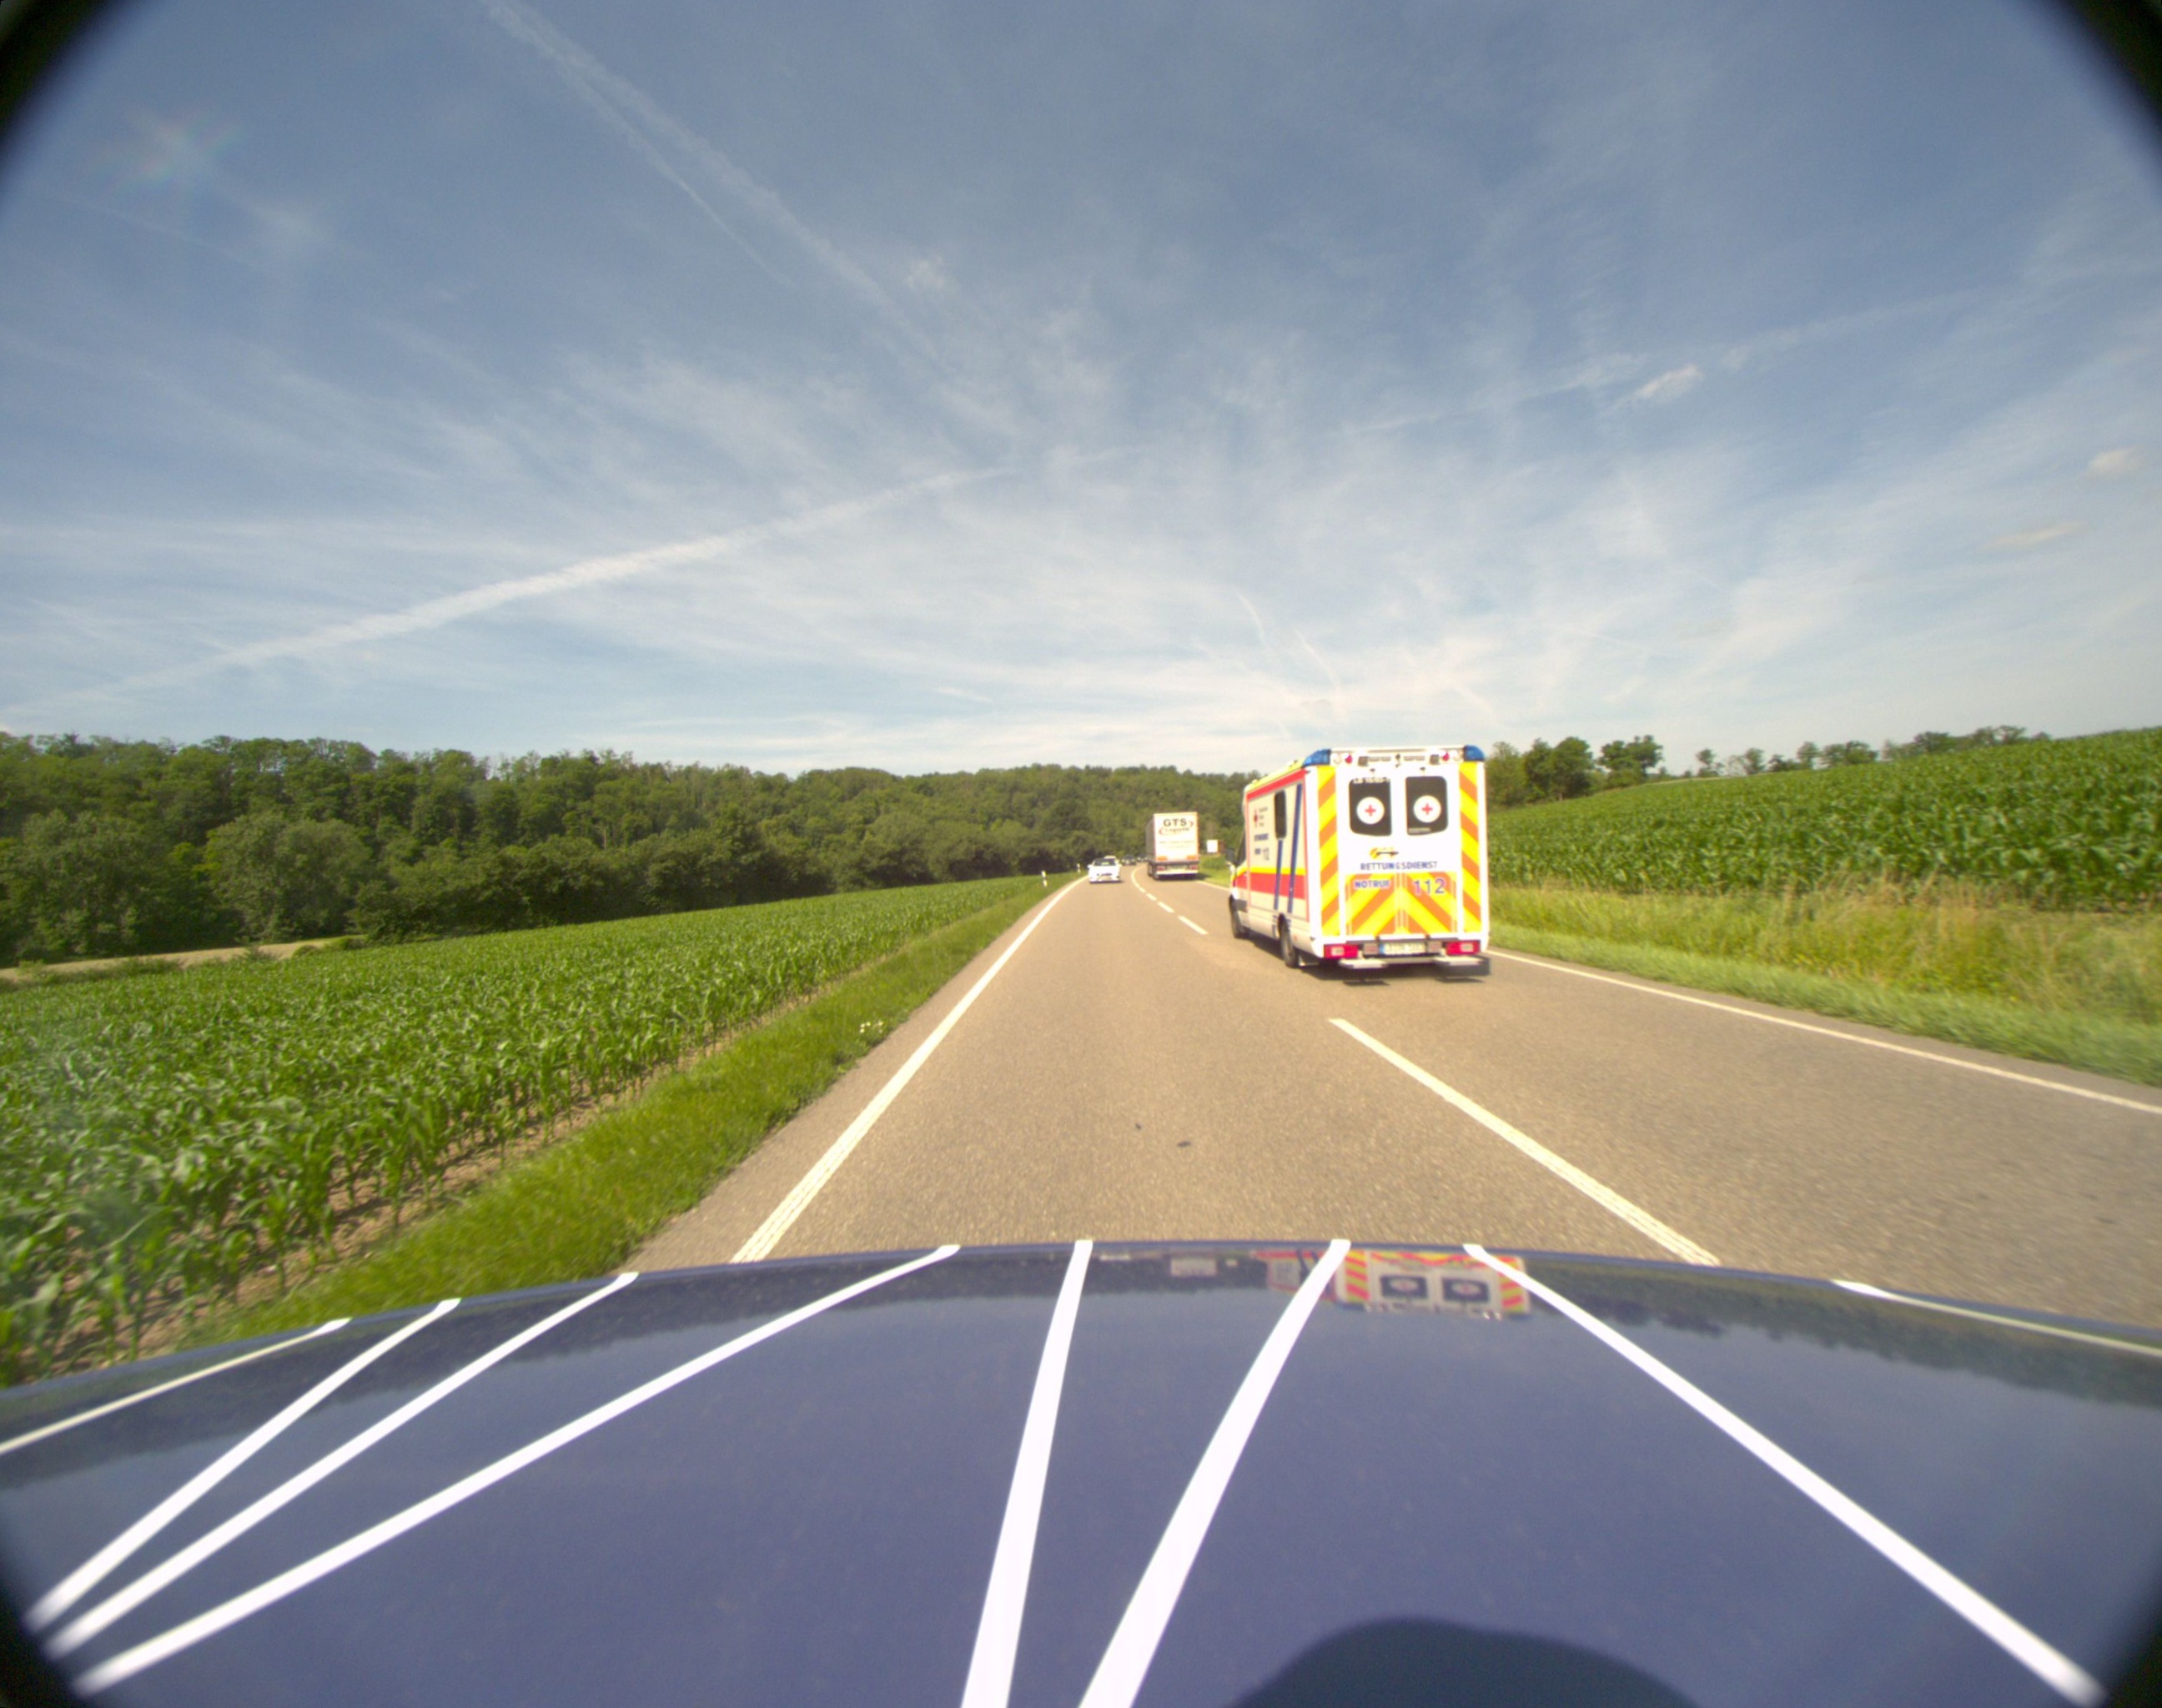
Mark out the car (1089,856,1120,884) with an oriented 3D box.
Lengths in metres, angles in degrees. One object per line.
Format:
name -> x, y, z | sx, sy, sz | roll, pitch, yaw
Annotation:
car -> 1.401, 0.903, 45.383 | 1.742, 1.445, 4.035 | -2, 1, 2

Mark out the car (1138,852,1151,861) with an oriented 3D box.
car -> 10.923, 0.369, 130.422 | 1.741, 1.445, 4.039 | -2, 1, 13

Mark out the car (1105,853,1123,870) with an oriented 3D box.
car -> 3.489, 0.779, 79.819 | 1.717, 1.523, 4.000 | -3, 1, 3

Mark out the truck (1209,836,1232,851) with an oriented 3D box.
truck -> 38.971, -2.947, 211.130 | 2.773, 3.975, 17.052 | -2, 0, 22

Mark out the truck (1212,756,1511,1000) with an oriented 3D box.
truck -> 3.670, 0.249, 11.625 | 2.213, 2.656, 6.416 | -1, 1, 0

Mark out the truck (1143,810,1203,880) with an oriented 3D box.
truck -> 5.973, -0.533, 51.966 | 2.833, 3.969, 16.535 | -1, 0, 3

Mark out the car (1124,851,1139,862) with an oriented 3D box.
car -> 7.249, 0.331, 108.788 | 1.742, 1.445, 4.037 | -2, 1, 8
